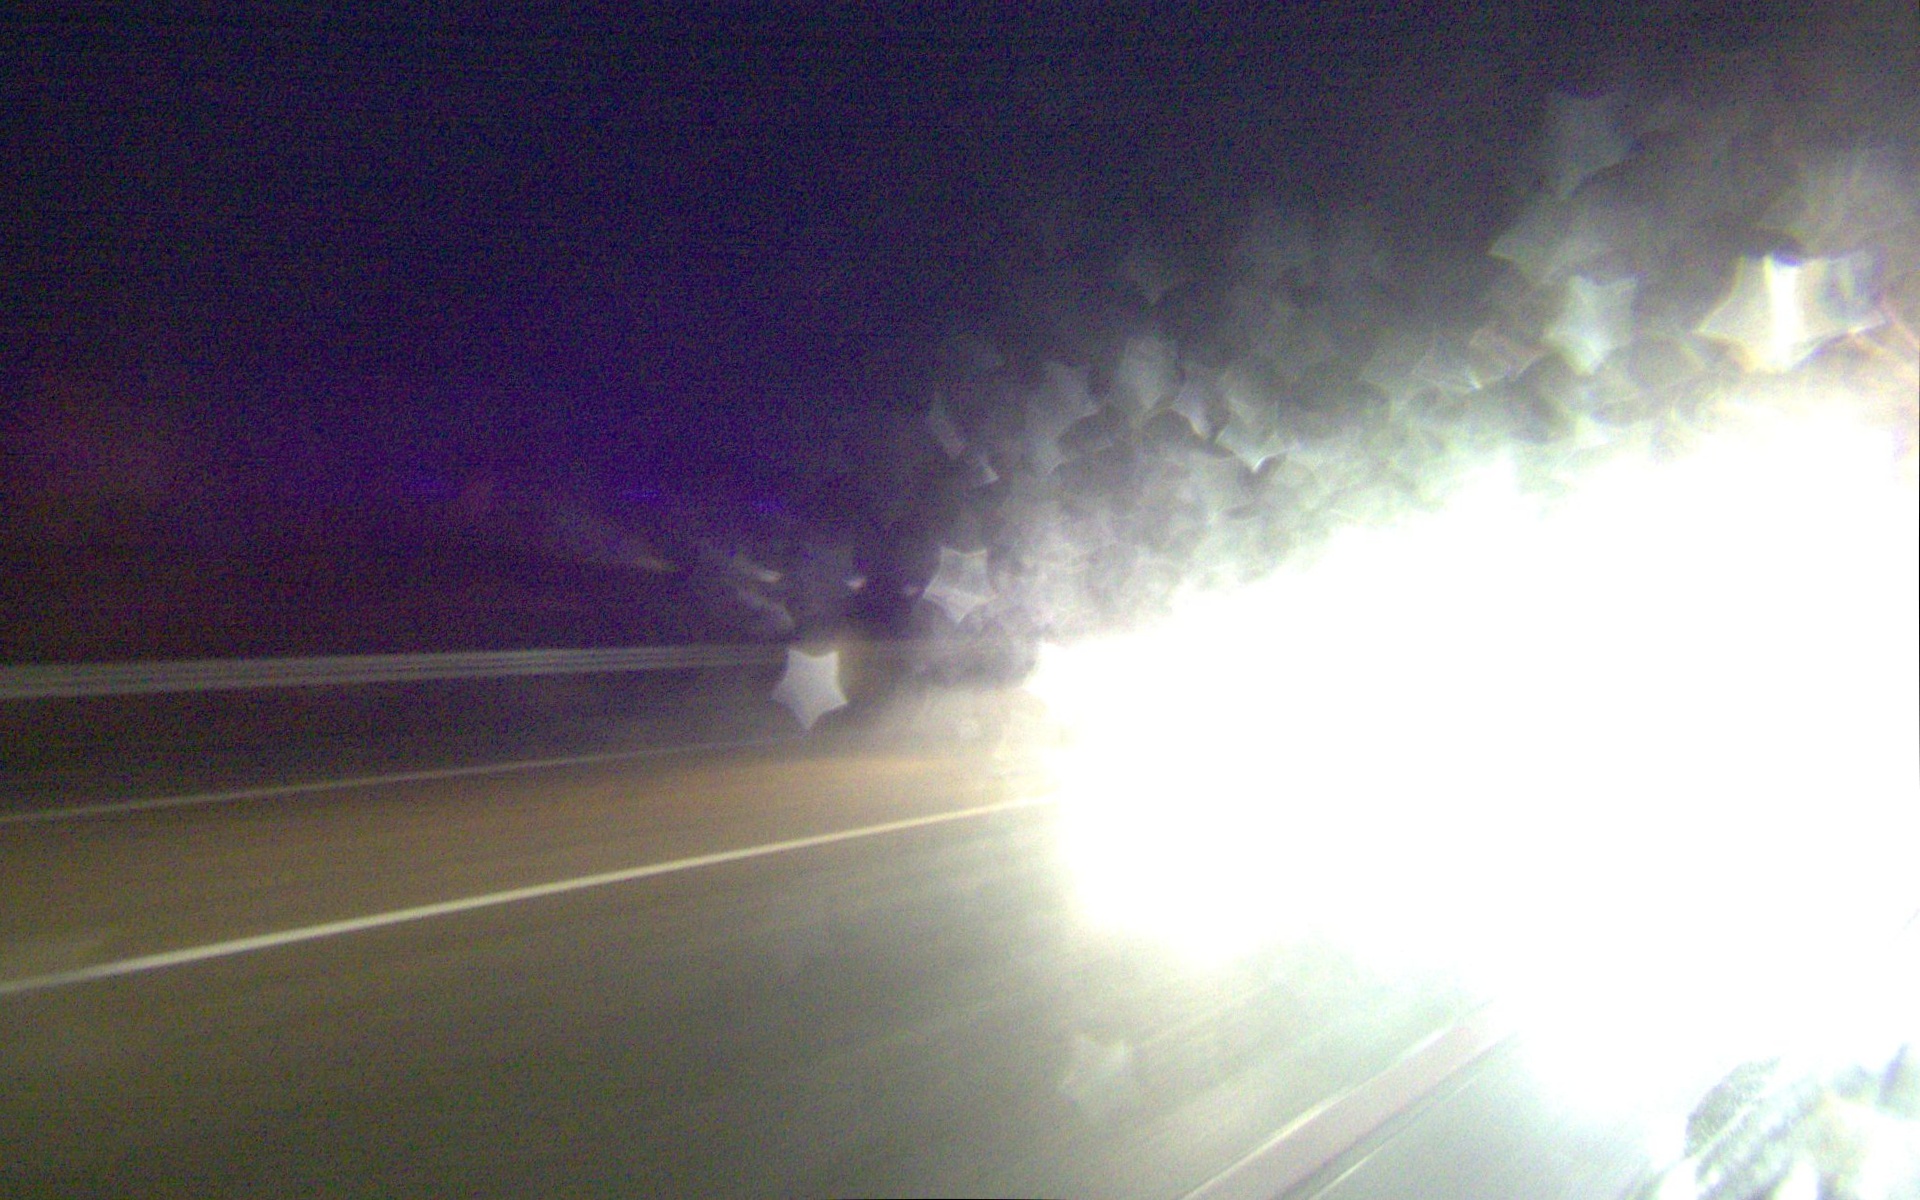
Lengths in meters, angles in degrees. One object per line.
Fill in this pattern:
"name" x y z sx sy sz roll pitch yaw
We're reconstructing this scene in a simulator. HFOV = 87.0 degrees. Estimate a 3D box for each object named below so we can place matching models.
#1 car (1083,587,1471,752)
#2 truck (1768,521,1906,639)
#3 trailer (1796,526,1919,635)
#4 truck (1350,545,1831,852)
"car" 3.842 0.647 11.627 5.271 1.498 1.746 0 -1 -41
"truck" 34.015 -0.724 39.182 6.888 4.155 2.865 0 0 -39
"trailer" 39.827 -0.793 43.944 13.397 4.149 2.871 -1 0 -39
"truck" 5.139 0.531 7.933 4.769 1.717 1.847 -1 0 -40
